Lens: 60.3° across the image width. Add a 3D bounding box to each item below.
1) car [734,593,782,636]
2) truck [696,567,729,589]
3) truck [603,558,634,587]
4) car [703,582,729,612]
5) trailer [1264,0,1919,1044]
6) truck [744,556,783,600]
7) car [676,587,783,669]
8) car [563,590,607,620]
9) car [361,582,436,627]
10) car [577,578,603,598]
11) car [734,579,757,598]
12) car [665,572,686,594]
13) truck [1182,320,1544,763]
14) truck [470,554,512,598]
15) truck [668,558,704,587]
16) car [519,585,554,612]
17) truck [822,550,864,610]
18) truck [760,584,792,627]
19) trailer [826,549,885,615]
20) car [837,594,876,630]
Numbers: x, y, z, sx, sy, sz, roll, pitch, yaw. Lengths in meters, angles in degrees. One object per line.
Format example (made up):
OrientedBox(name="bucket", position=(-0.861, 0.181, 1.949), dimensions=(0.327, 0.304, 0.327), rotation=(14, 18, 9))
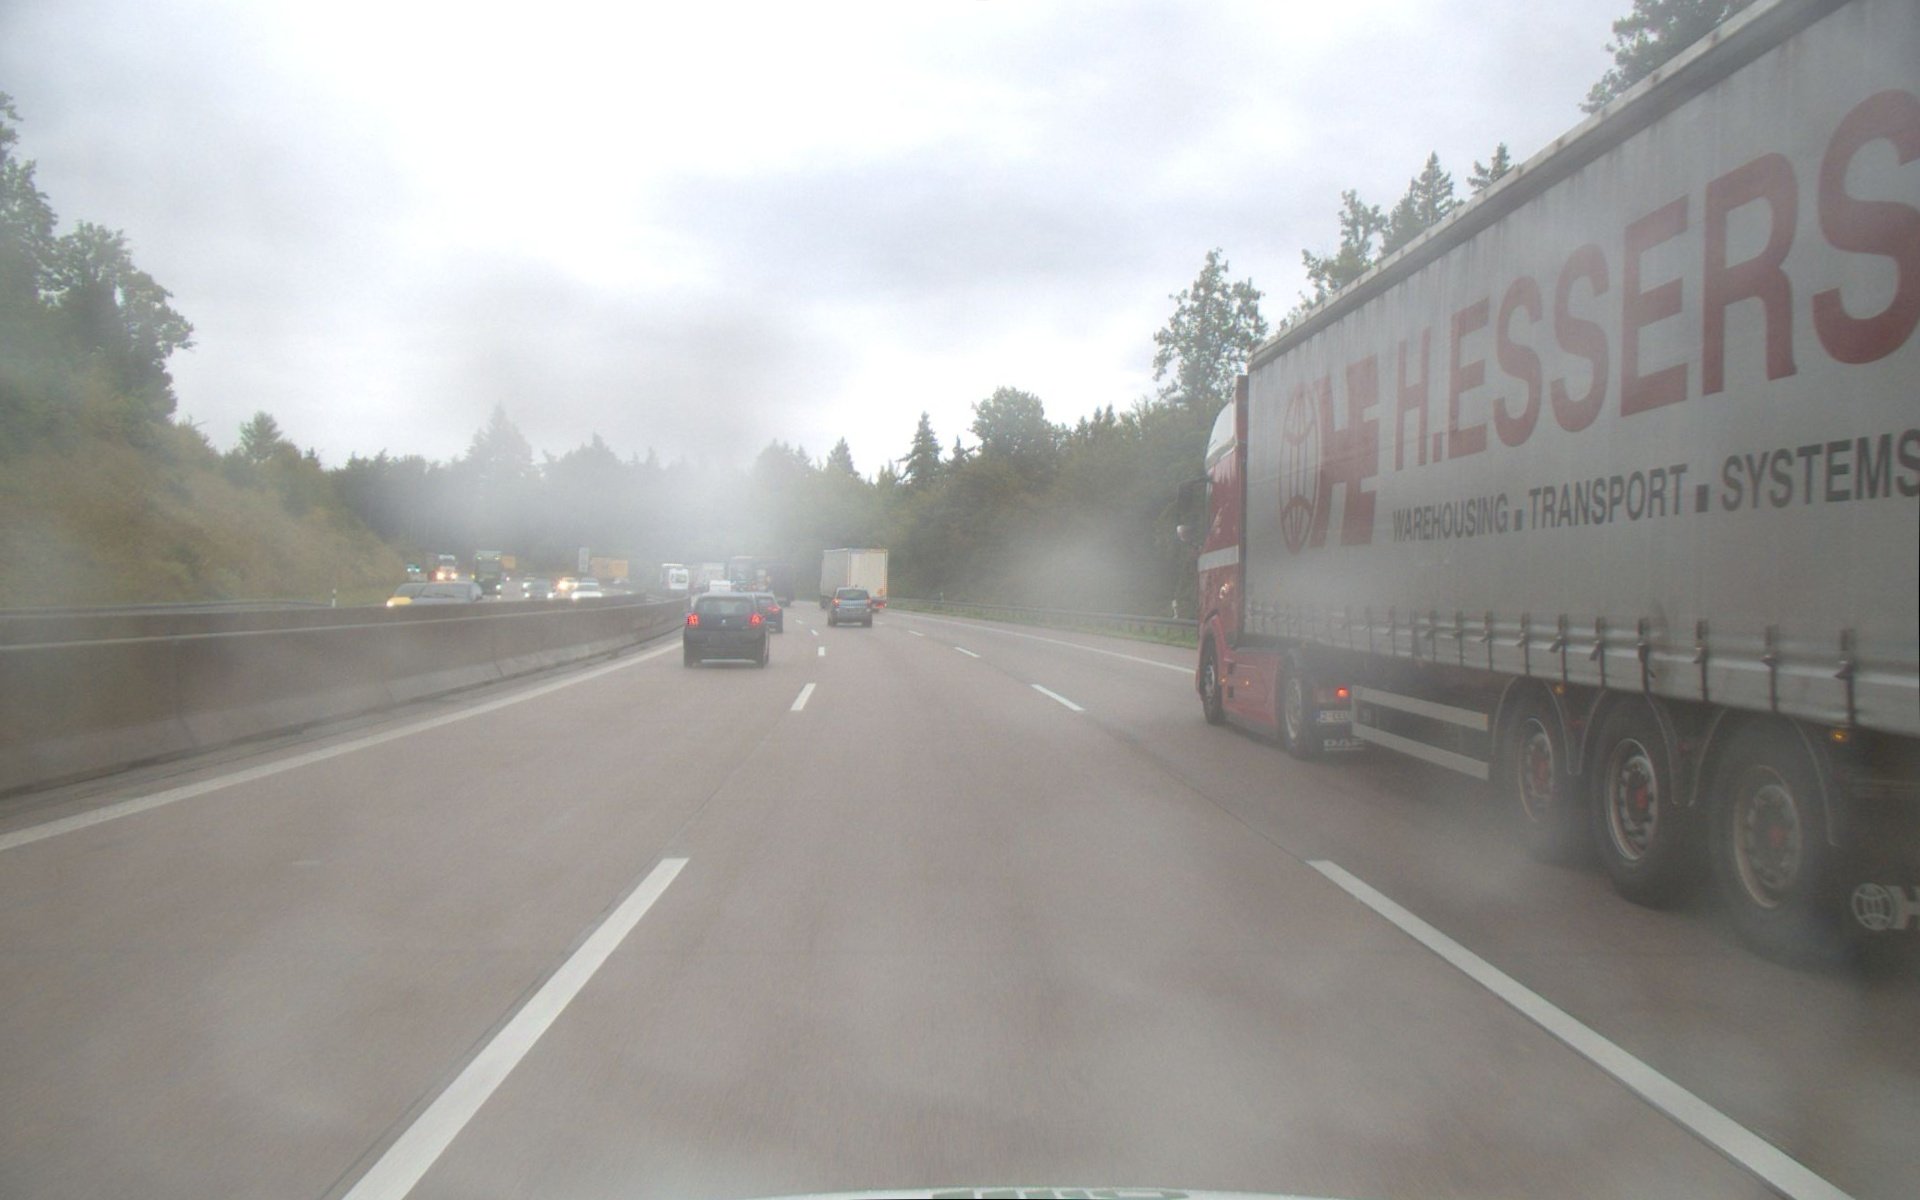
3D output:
OrientedBox(name="car", position=(-7.141, 0.480, 58.771), dimensions=(1.524, 1.375, 3.680), rotation=(3, 0, -5))
OrientedBox(name="truck", position=(-29.149, -2.633, 194.381), dimensions=(2.926, 2.349, 6.638), rotation=(3, 0, -16))
OrientedBox(name="truck", position=(-51.003, -4.108, 246.935), dimensions=(3.684, 4.283, 6.779), rotation=(0, 0, -20))
OrientedBox(name="car", position=(-16.993, -0.223, 115.514), dimensions=(1.692, 2.049, 3.651), rotation=(1, 0, -7))
OrientedBox(name="trailer", position=(4.308, -0.528, 10.031), dimensions=(2.322, 4.023, 12.517), rotation=(0, 0, -1))
OrientedBox(name="truck", position=(-19.487, -2.218, 163.417), dimensions=(3.307, 4.203, 10.416), rotation=(1, 1, -9))
OrientedBox(name="car", position=(-4.597, 0.521, 33.423), dimensions=(1.650, 1.487, 3.683), rotation=(3, 0, -2))
OrientedBox(name="car", position=(-20.813, 0.267, 91.888), dimensions=(1.707, 1.588, 4.280), rotation=(0, 0, -4))
OrientedBox(name="car", position=(-19.479, 0.130, 57.489), dimensions=(1.544, 1.513, 4.278), rotation=(0, 1, -6))
OrientedBox(name="car", position=(-33.475, -1.080, 149.751), dimensions=(1.957, 1.799, 4.528), rotation=(0, 0, -9))
OrientedBox(name="car", position=(-18.538, -0.974, 142.888), dimensions=(1.846, 1.498, 3.994), rotation=(3, 0, -7))
OrientedBox(name="car", position=(-27.465, -1.634, 159.712), dimensions=(1.957, 2.095, 3.991), rotation=(1, 0, -10))
OrientedBox(name="truck", position=(4.091, -0.547, 18.157), dimensions=(2.327, 4.023, 6.158), rotation=(0, 0, -2))
OrientedBox(name="truck", position=(-44.553, -2.300, 157.292), dimensions=(2.874, 4.029, 8.099), rotation=(0, 0, -10))
OrientedBox(name="truck", position=(-30.346, -3.111, 182.958), dimensions=(3.032, 2.956, 7.871), rotation=(1, 2, -16))
OrientedBox(name="car", position=(-27.088, -0.106, 105.889), dimensions=(1.775, 1.713, 3.991), rotation=(0, 0, -10))
OrientedBox(name="truck", position=(-8.363, -1.447, 117.365), dimensions=(2.376, 4.139, 4.966), rotation=(1, 1, -10))
OrientedBox(name="truck", position=(-14.089, 0.350, 126.521), dimensions=(2.226, 2.937, 7.893), rotation=(2, 2, -7))
OrientedBox(name="trailer", position=(-7.065, -1.273, 110.295), dimensions=(2.376, 4.139, 12.024), rotation=(1, 1, -11))
OrientedBox(name="car", position=(-4.330, 0.479, 69.641), dimensions=(1.523, 1.375, 3.681), rotation=(3, 0, -3))
